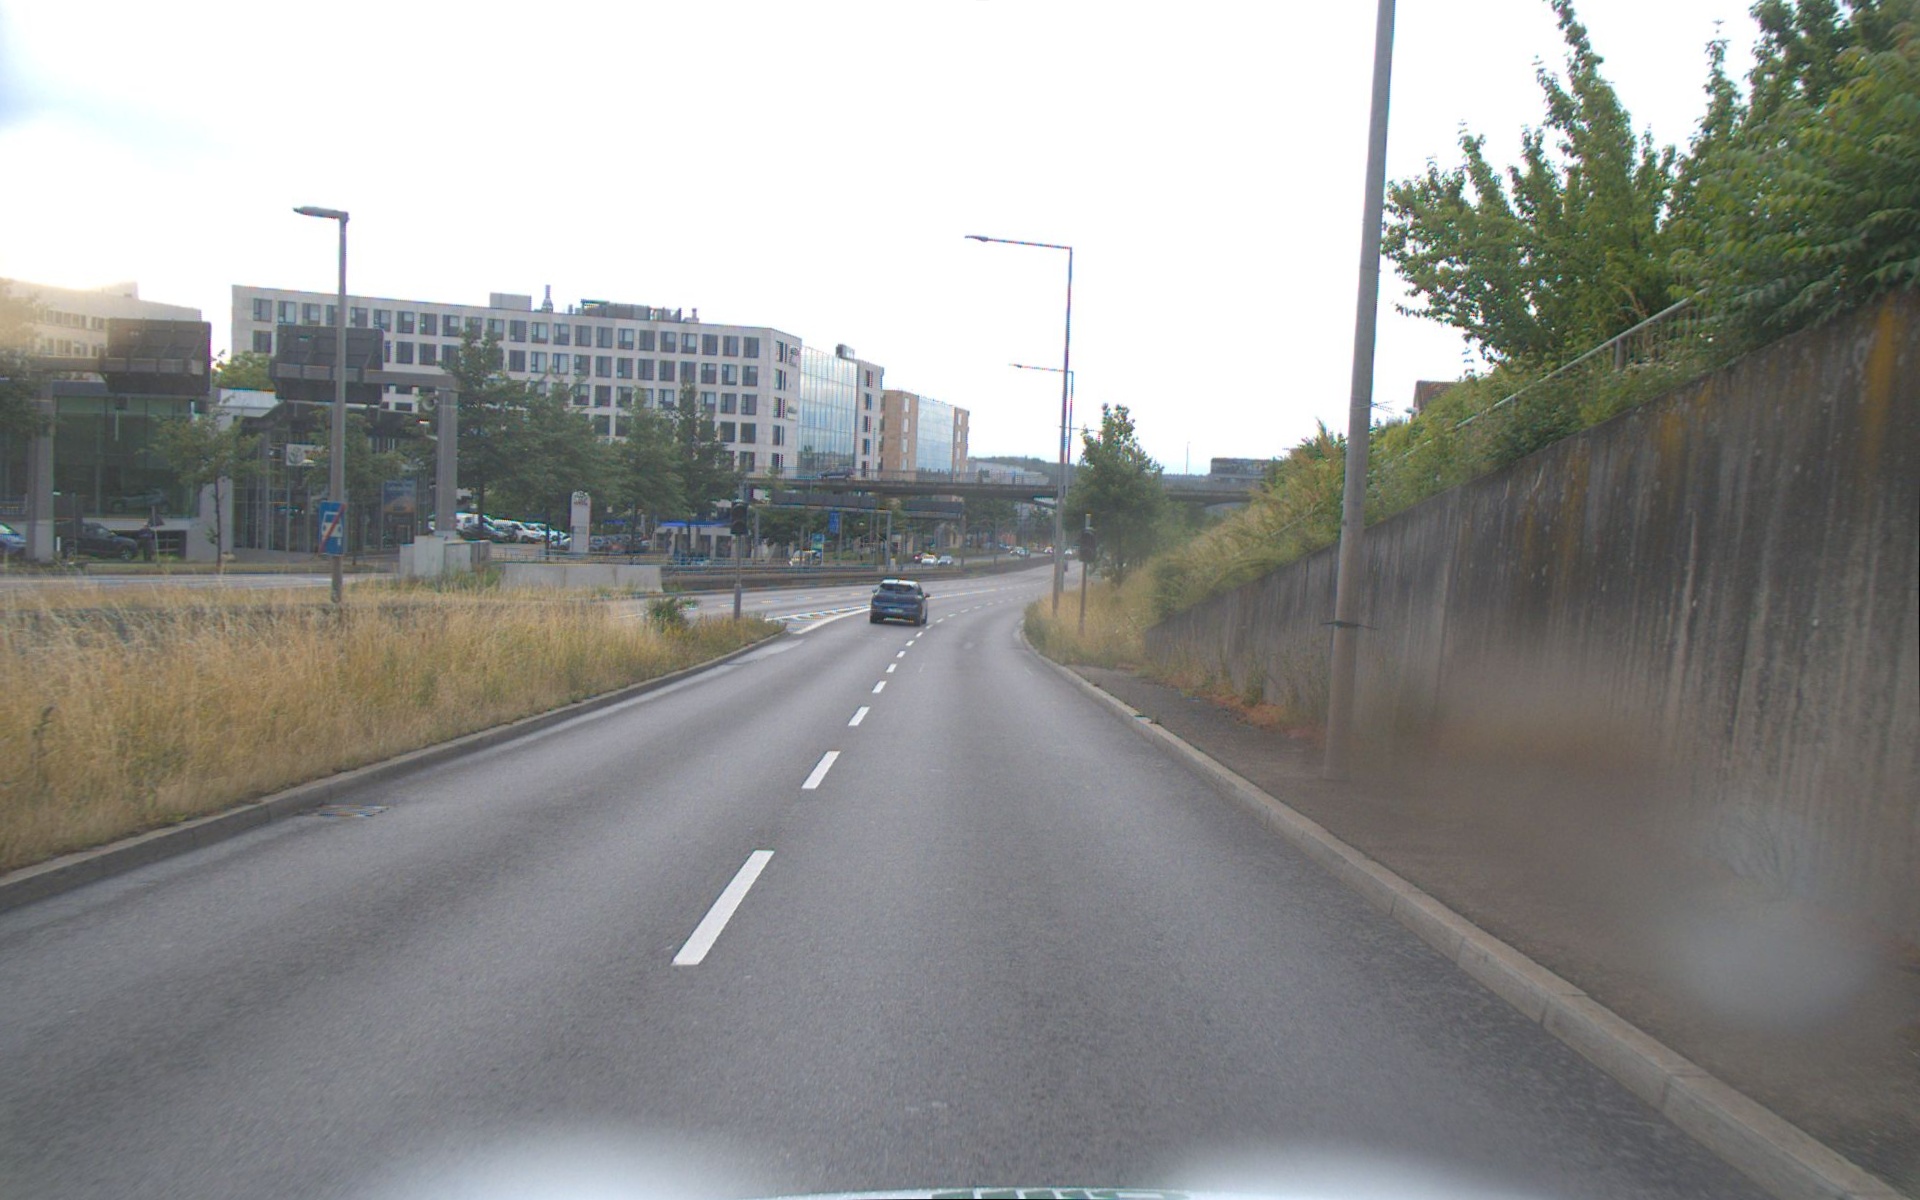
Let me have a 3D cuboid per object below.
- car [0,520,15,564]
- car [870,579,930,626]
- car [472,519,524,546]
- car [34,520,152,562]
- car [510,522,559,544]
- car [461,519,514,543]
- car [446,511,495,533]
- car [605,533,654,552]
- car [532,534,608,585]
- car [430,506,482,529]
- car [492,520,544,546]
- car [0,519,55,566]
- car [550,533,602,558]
[{"bbox_3d":[-40.837,-2.491,67.151,3.904,1.712,1.926,5,4,8],"label":"car"},{"bbox_3d":[-2.001,0.051,56.300,1.712,1.444,3.481,0,3,3],"label":"car"},{"bbox_3d":[-40.867,-5.978,146.362,3.903,2.048,2.002,4,2,12],"label":"car"},{"bbox_3d":[-39.324,-2.699,75.147,1.880,1.712,4.499,7,5,25],"label":"car"},{"bbox_3d":[-39.606,-6.274,154.036,3.904,1.678,2.002,6,4,12],"label":"car"},{"bbox_3d":[-41.023,-5.974,143.677,3.904,1.678,2.002,5,4,5],"label":"car"},{"bbox_3d":[-45.668,-7.263,154.435,3.905,1.678,1.823,5,4,4],"label":"car"},{"bbox_3d":[-30.423,-5.269,152.402,3.904,1.377,1.851,6,2,9],"label":"car"},{"bbox_3d":[-14.697,-1.558,62.546,1.653,1.617,3.553,5,4,5],"label":"car"},{"bbox_3d":[-45.168,-7.428,148.148,3.904,1.678,2.002,5,5,5],"label":"car"},{"bbox_3d":[-39.714,-6.056,148.619,3.904,1.907,2.002,6,4,12],"label":"car"},{"bbox_3d":[-40.488,-2.495,69.478,3.904,1.712,1.926,5,4,8],"label":"car"},{"bbox_3d":[-32.511,-4.610,140.011,3.933,1.679,1.987,4,2,-23],"label":"car"}]
